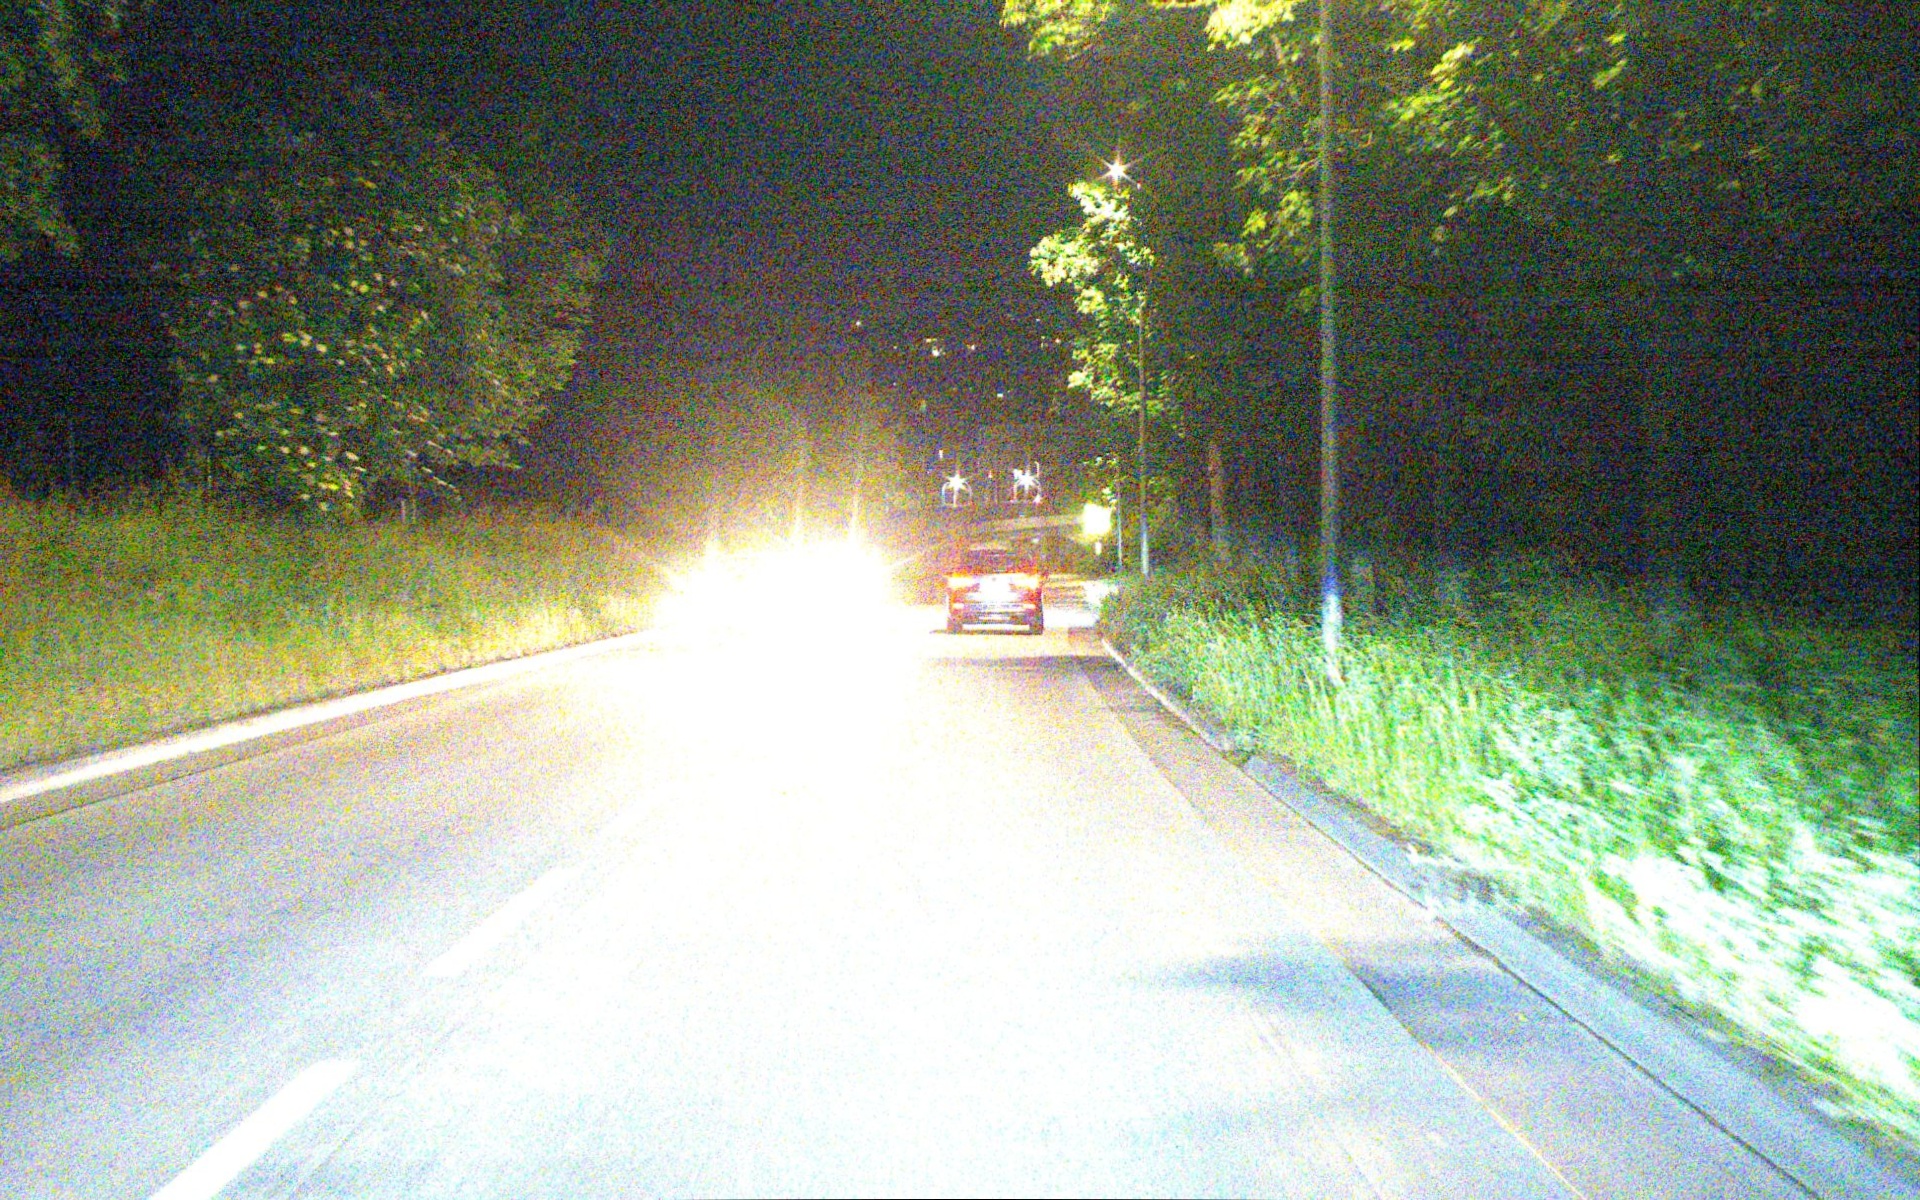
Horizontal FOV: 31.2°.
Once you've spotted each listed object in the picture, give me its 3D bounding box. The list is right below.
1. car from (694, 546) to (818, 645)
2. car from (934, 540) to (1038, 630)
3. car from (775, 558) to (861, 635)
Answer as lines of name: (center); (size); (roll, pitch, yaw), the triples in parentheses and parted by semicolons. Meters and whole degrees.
car: (-3.099, -0.095, 52.936); (1.687, 1.452, 4.000); (1, 1, 0)
car: (0.465, -0.297, 65.099); (1.763, 1.636, 3.723); (0, 1, -2)
car: (-2.836, -0.088, 69.230); (1.647, 1.486, 3.558); (1, 1, -1)
